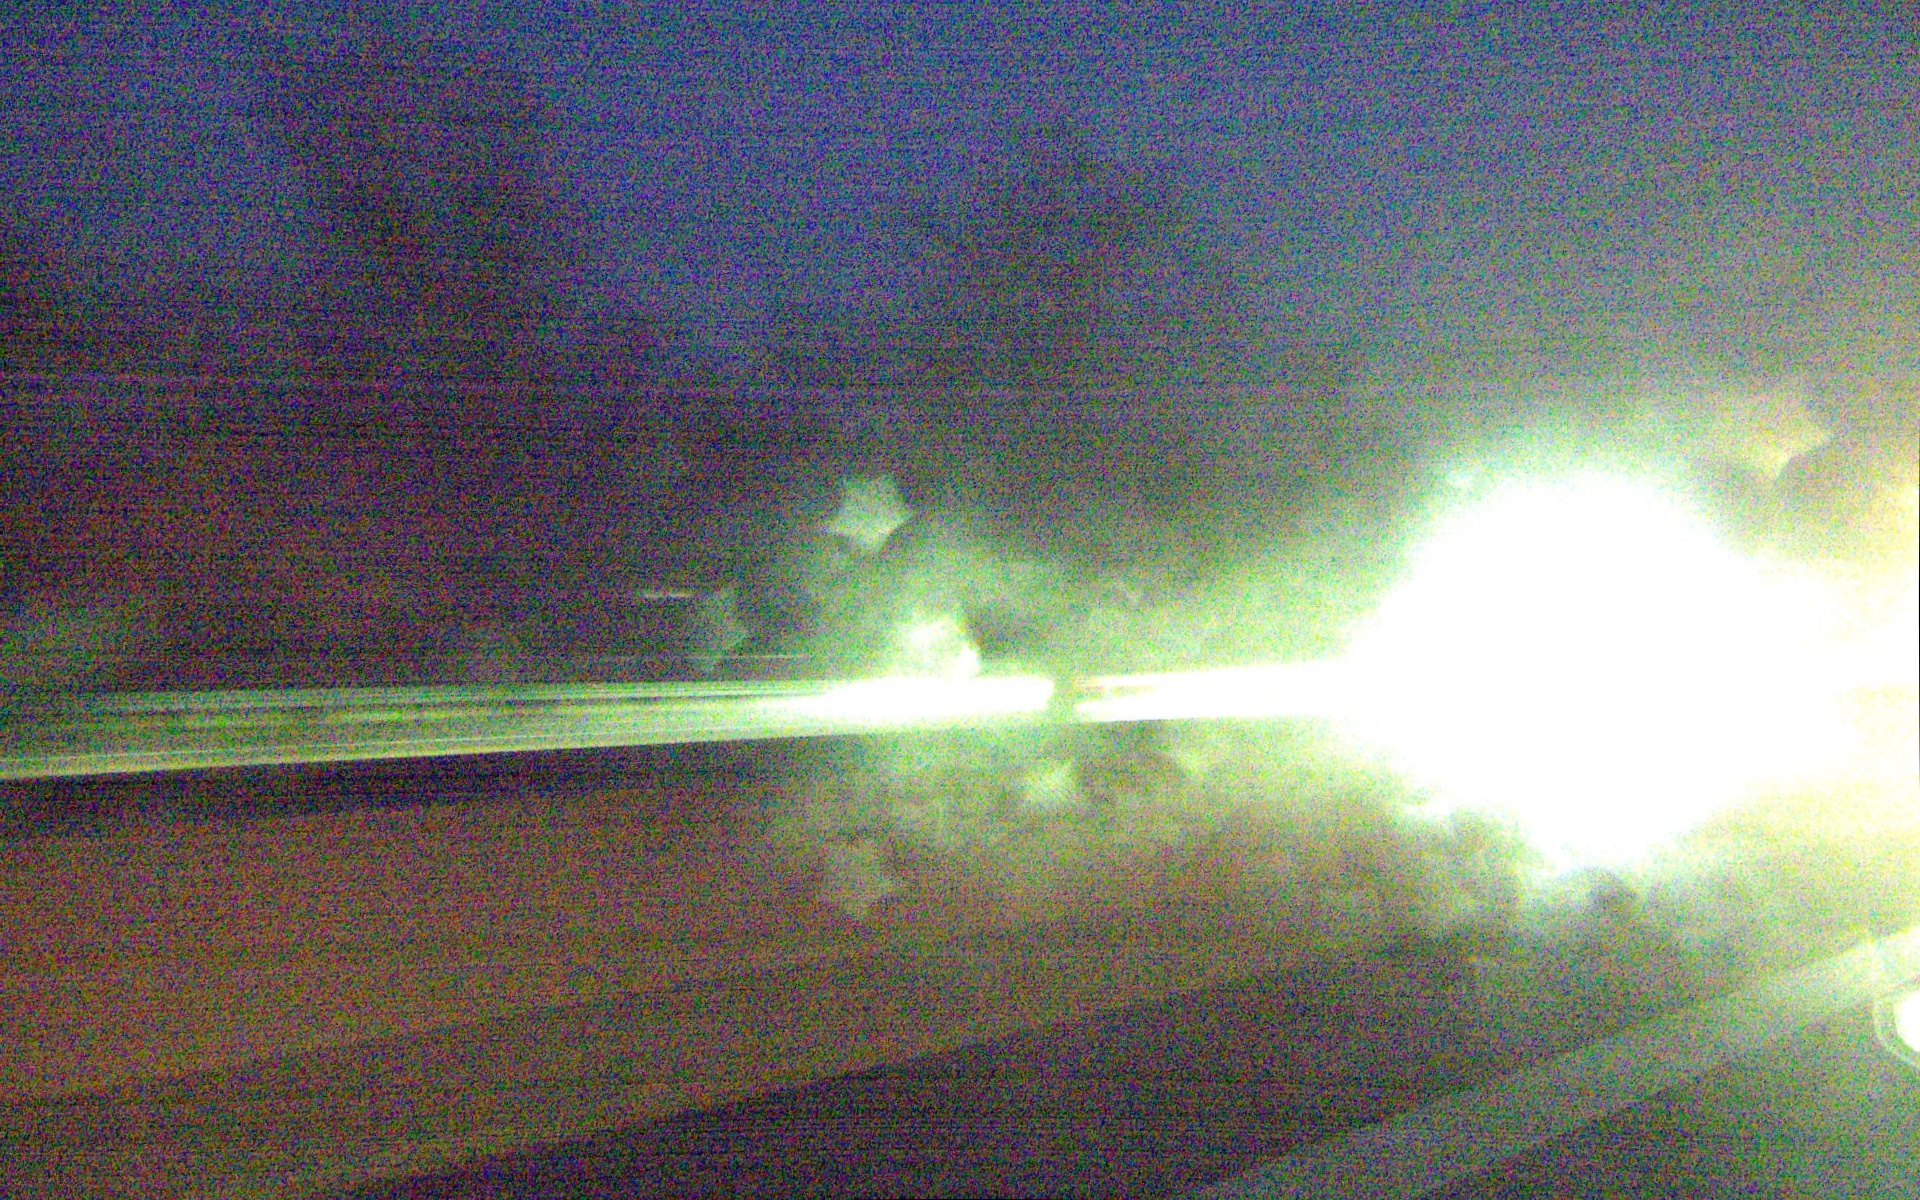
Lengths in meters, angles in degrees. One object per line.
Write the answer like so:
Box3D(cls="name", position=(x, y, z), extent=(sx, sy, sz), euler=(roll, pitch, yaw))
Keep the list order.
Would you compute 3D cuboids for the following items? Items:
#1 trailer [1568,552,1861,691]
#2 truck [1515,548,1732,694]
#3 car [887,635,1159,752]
Box3D(cls="trailer", position=(26.491, 0.786, 34.827), extent=(14.055, 4.148, 2.953), euler=(1, -2, -31))
Box3D(cls="truck", position=(20.851, 0.695, 31.487), extent=(6.912, 4.148, 2.907), euler=(1, -2, -30))
Box3D(cls="car", position=(1.013, 1.377, 15.697), extent=(3.927, 1.595, 1.788), euler=(2, -2, -30))
